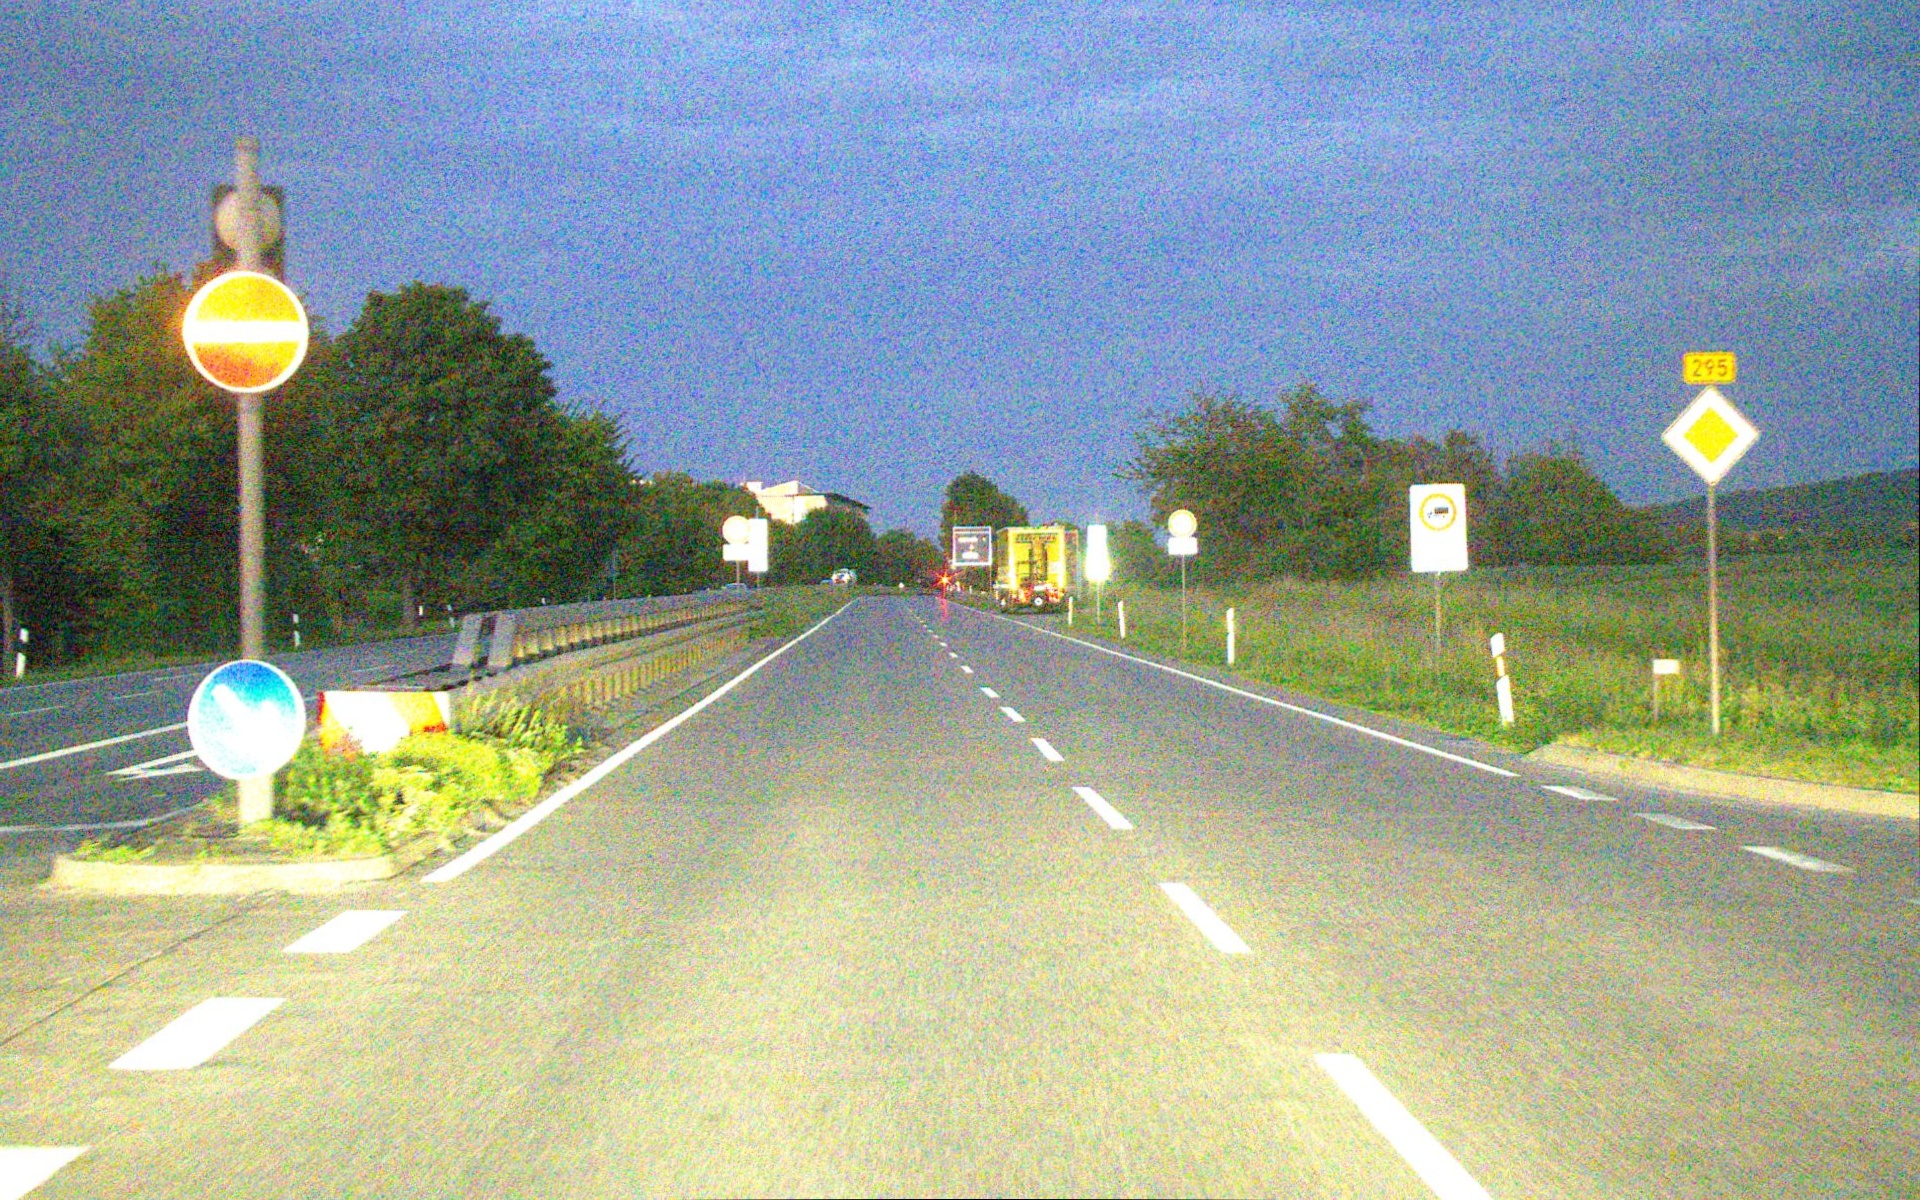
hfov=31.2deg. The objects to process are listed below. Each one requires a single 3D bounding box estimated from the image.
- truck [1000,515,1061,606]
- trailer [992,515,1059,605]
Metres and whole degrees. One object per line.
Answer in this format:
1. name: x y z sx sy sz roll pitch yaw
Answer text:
1. truck: 3.192 -1.828 156.922 2.579 4.057 6.130 1 1 0
2. trailer: 3.051 -1.896 164.243 2.622 4.090 12.938 -1 0 -1
